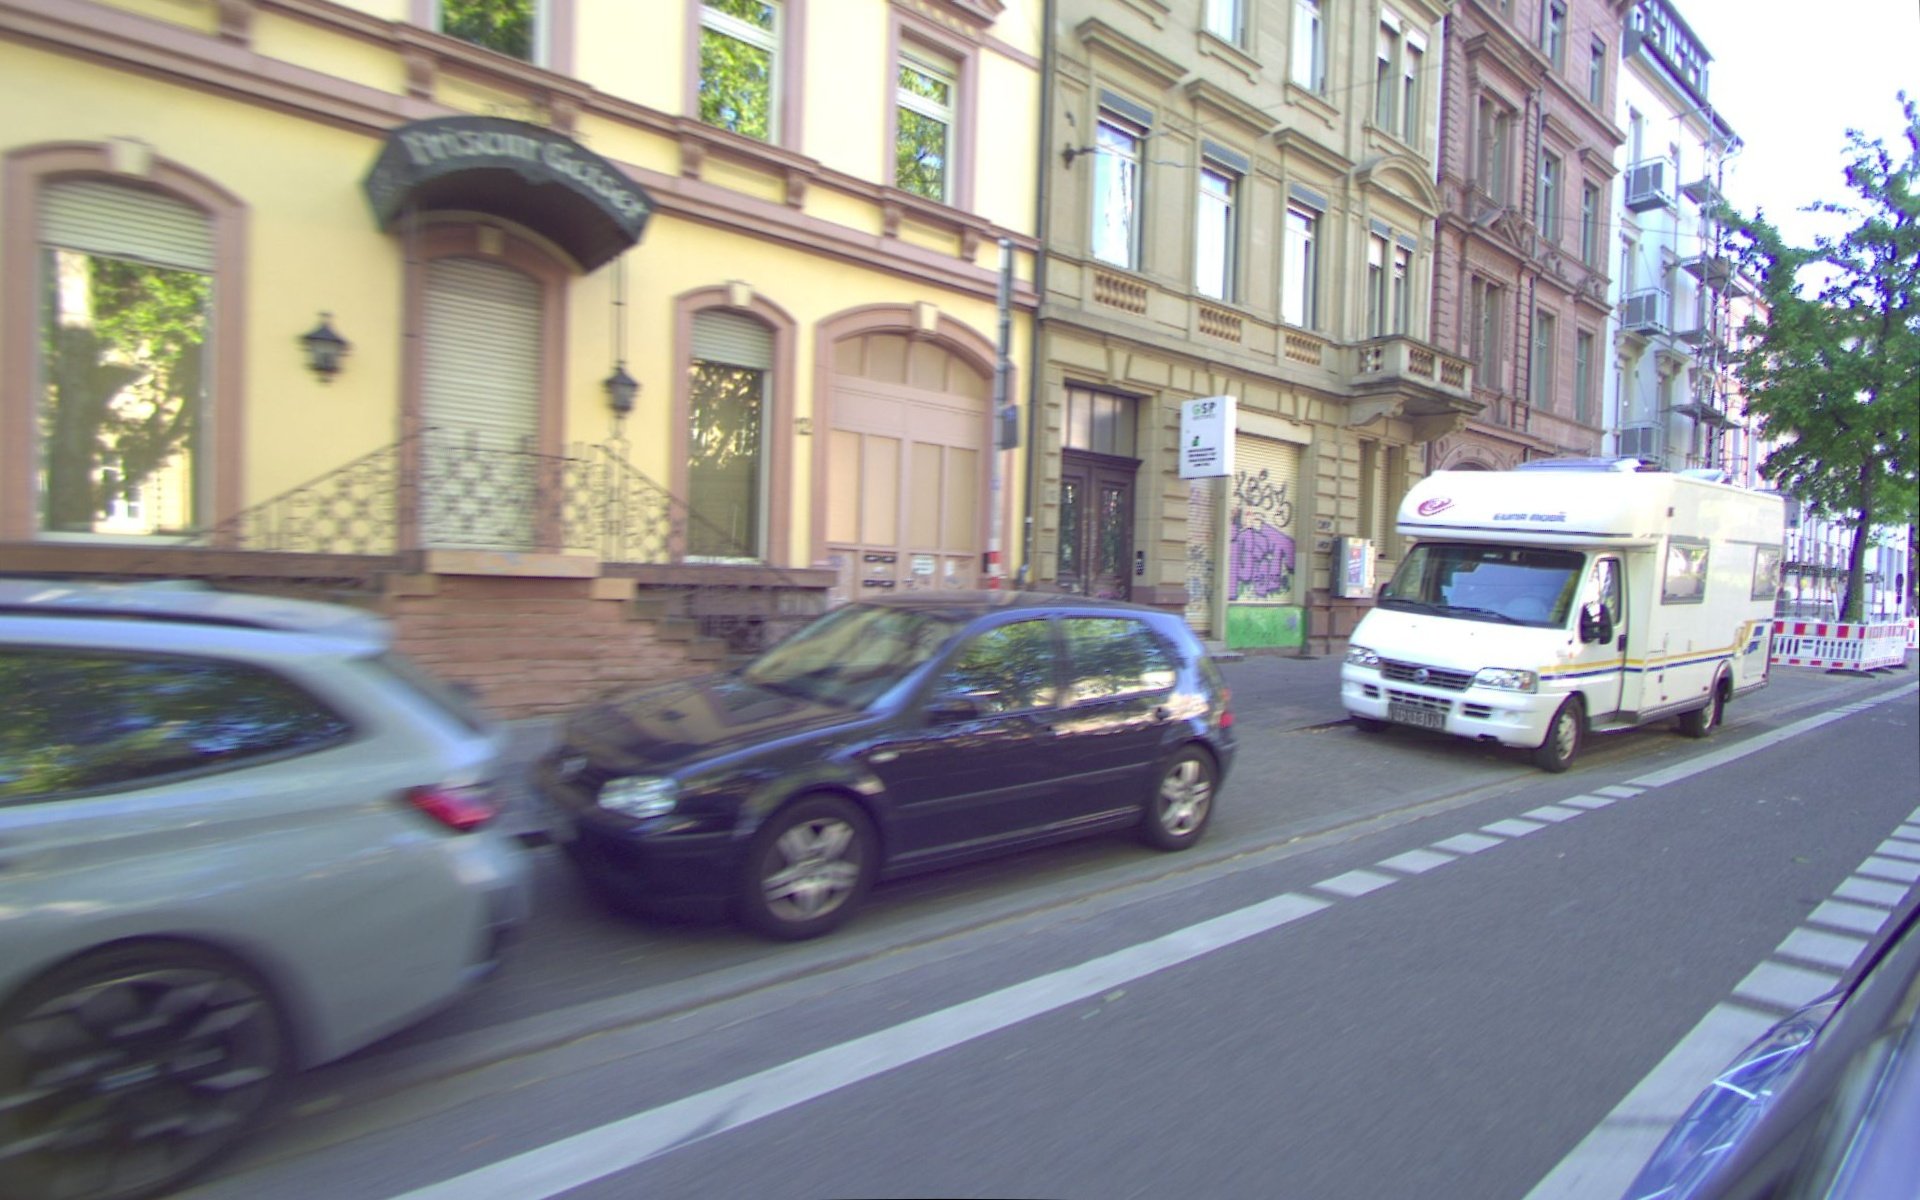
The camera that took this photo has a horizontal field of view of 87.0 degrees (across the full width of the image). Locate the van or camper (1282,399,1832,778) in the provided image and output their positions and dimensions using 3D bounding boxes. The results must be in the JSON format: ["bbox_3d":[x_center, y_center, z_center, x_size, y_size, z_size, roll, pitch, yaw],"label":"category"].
[{"bbox_3d":[7.072,-0.204,11.386,7.740,3.007,2.486,0,5,-38],"label":"van or camper"}]

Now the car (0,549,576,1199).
[{"bbox_3d":[-3.490,0.605,2.267,4.582,1.452,1.814,0,3,-40],"label":"car"}]

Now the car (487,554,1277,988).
[{"bbox_3d":[-0.216,0.582,5.458,3.955,1.451,1.650,0,5,-38],"label":"car"}]
